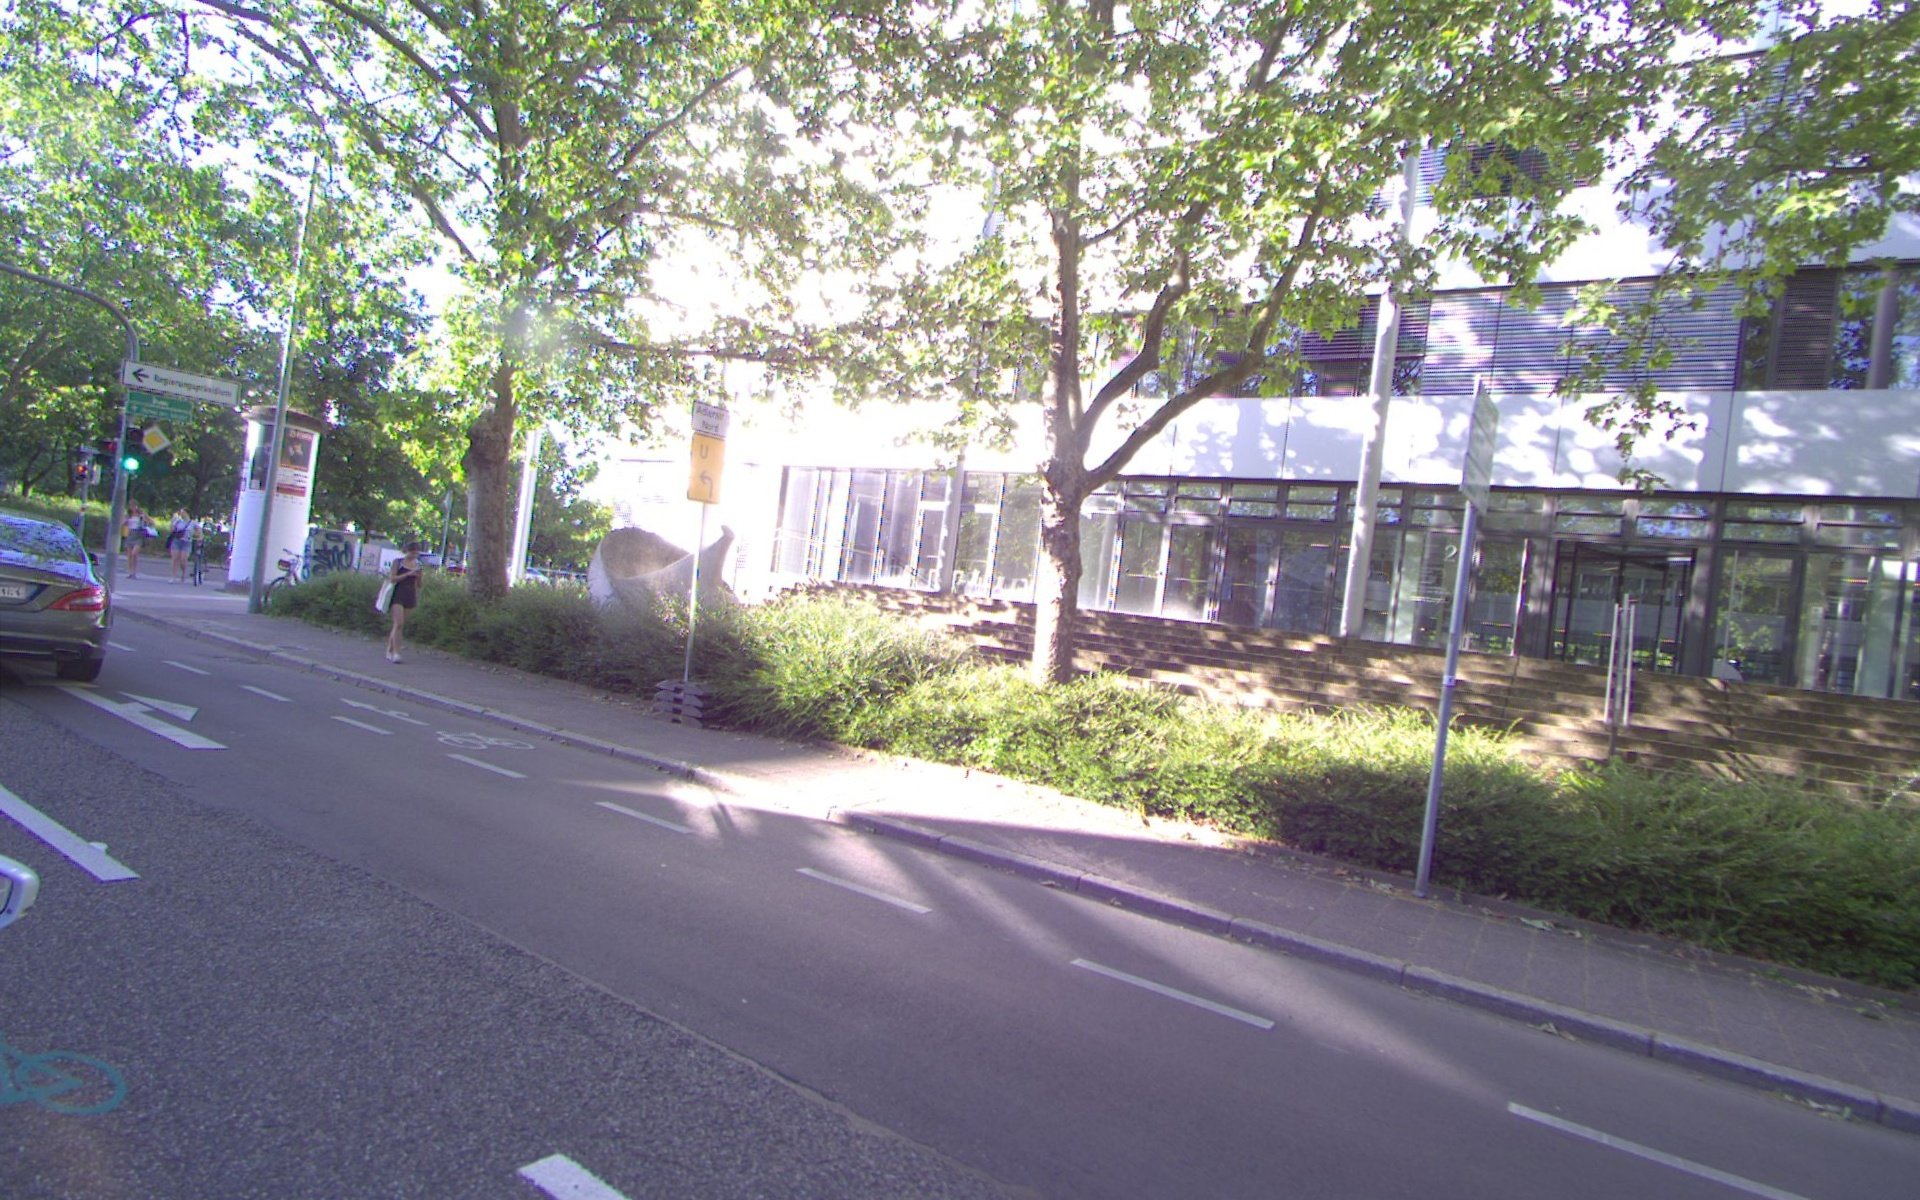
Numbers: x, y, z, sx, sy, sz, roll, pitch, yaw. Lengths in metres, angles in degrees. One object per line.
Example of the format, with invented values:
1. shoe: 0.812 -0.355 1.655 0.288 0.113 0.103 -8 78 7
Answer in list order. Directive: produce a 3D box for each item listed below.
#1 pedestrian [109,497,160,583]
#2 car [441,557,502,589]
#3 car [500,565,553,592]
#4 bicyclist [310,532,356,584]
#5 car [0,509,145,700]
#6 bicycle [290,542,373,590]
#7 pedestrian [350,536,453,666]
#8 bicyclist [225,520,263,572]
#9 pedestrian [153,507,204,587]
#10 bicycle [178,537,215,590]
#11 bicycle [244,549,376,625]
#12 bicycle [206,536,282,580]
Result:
1. pedestrian: -18.734 -1.347 22.850 0.728 1.830 0.900 6 -1 -38
2. car: -31.309 -1.737 64.518 3.733 1.499 1.633 6 -2 32
3. car: -31.770 -1.583 73.718 3.733 1.485 1.575 6 -2 32
4. bicyclist: -22.119 -1.477 35.504 0.856 1.634 0.965 7 -2 35
5. car: -9.189 -0.157 9.220 4.455 1.445 1.842 6 -3 41
6. bicycle: -22.163 -1.172 35.514 0.649 1.341 2.292 7 -2 33
7. pedestrian: -7.616 0.016 13.727 0.893 1.651 0.798 8 2 34
8. bicyclist: -25.521 -1.920 35.859 0.664 1.717 0.711 7 -1 32
9. pedestrian: -18.081 -1.230 23.258 0.681 1.717 0.959 8 -2 -43
10. bicycle: -17.893 -0.870 23.561 0.522 1.113 1.722 8 -2 -39
11. bicycle: -12.401 -0.223 19.274 0.519 1.203 1.980 7 -2 31
12. bicycle: -25.519 -1.489 35.907 0.589 1.234 2.035 7 -2 32
